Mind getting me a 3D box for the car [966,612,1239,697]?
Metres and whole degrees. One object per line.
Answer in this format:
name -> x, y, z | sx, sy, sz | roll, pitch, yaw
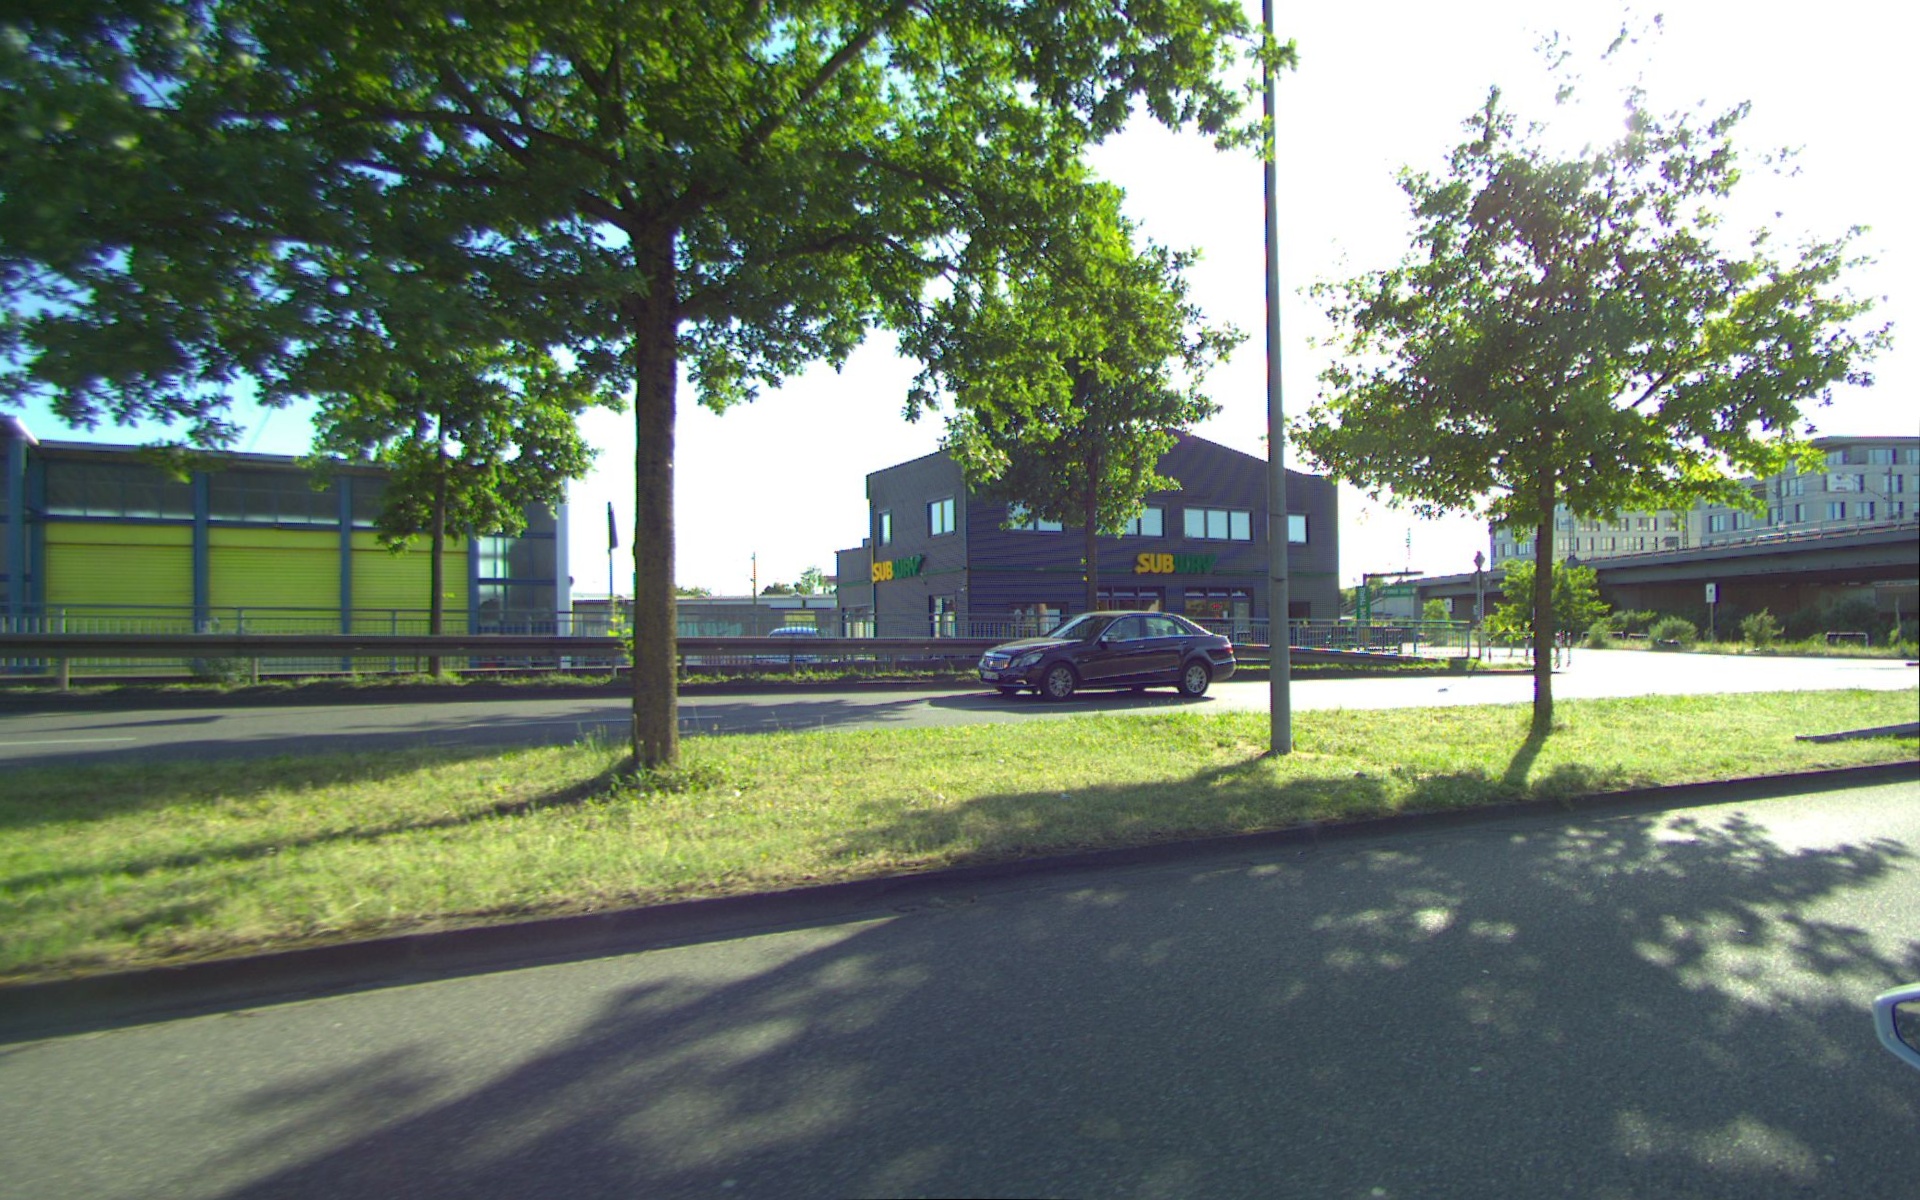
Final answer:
car -> 2.540, 0.926, 17.617 | 4.557, 1.327, 1.793 | 2, -1, -28
